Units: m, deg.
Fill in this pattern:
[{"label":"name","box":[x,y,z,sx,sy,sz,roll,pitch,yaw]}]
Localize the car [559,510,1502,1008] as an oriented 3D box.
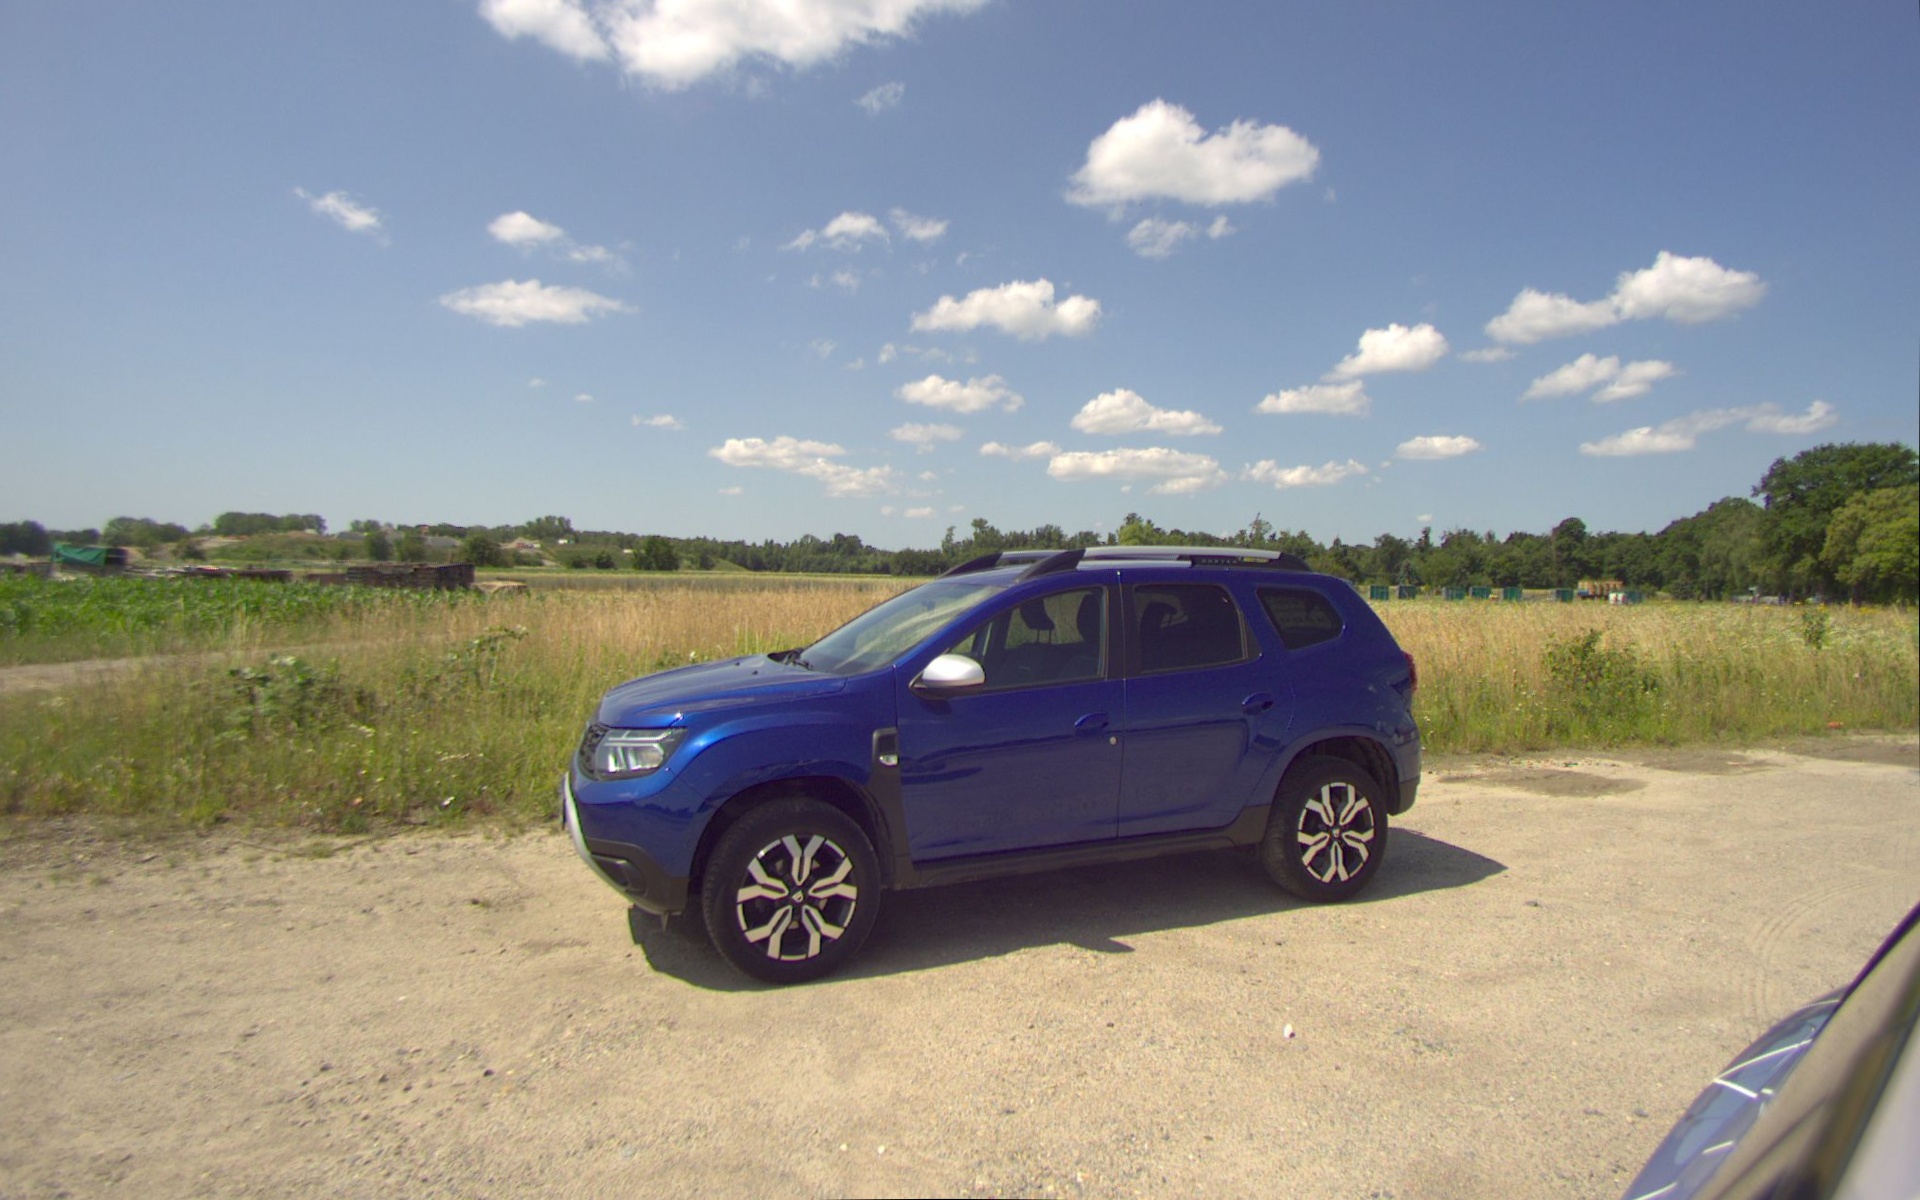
[{"label":"car","box":[0.332,0.507,5.099,4.365,1.682,1.868,0,1,-22]}]
